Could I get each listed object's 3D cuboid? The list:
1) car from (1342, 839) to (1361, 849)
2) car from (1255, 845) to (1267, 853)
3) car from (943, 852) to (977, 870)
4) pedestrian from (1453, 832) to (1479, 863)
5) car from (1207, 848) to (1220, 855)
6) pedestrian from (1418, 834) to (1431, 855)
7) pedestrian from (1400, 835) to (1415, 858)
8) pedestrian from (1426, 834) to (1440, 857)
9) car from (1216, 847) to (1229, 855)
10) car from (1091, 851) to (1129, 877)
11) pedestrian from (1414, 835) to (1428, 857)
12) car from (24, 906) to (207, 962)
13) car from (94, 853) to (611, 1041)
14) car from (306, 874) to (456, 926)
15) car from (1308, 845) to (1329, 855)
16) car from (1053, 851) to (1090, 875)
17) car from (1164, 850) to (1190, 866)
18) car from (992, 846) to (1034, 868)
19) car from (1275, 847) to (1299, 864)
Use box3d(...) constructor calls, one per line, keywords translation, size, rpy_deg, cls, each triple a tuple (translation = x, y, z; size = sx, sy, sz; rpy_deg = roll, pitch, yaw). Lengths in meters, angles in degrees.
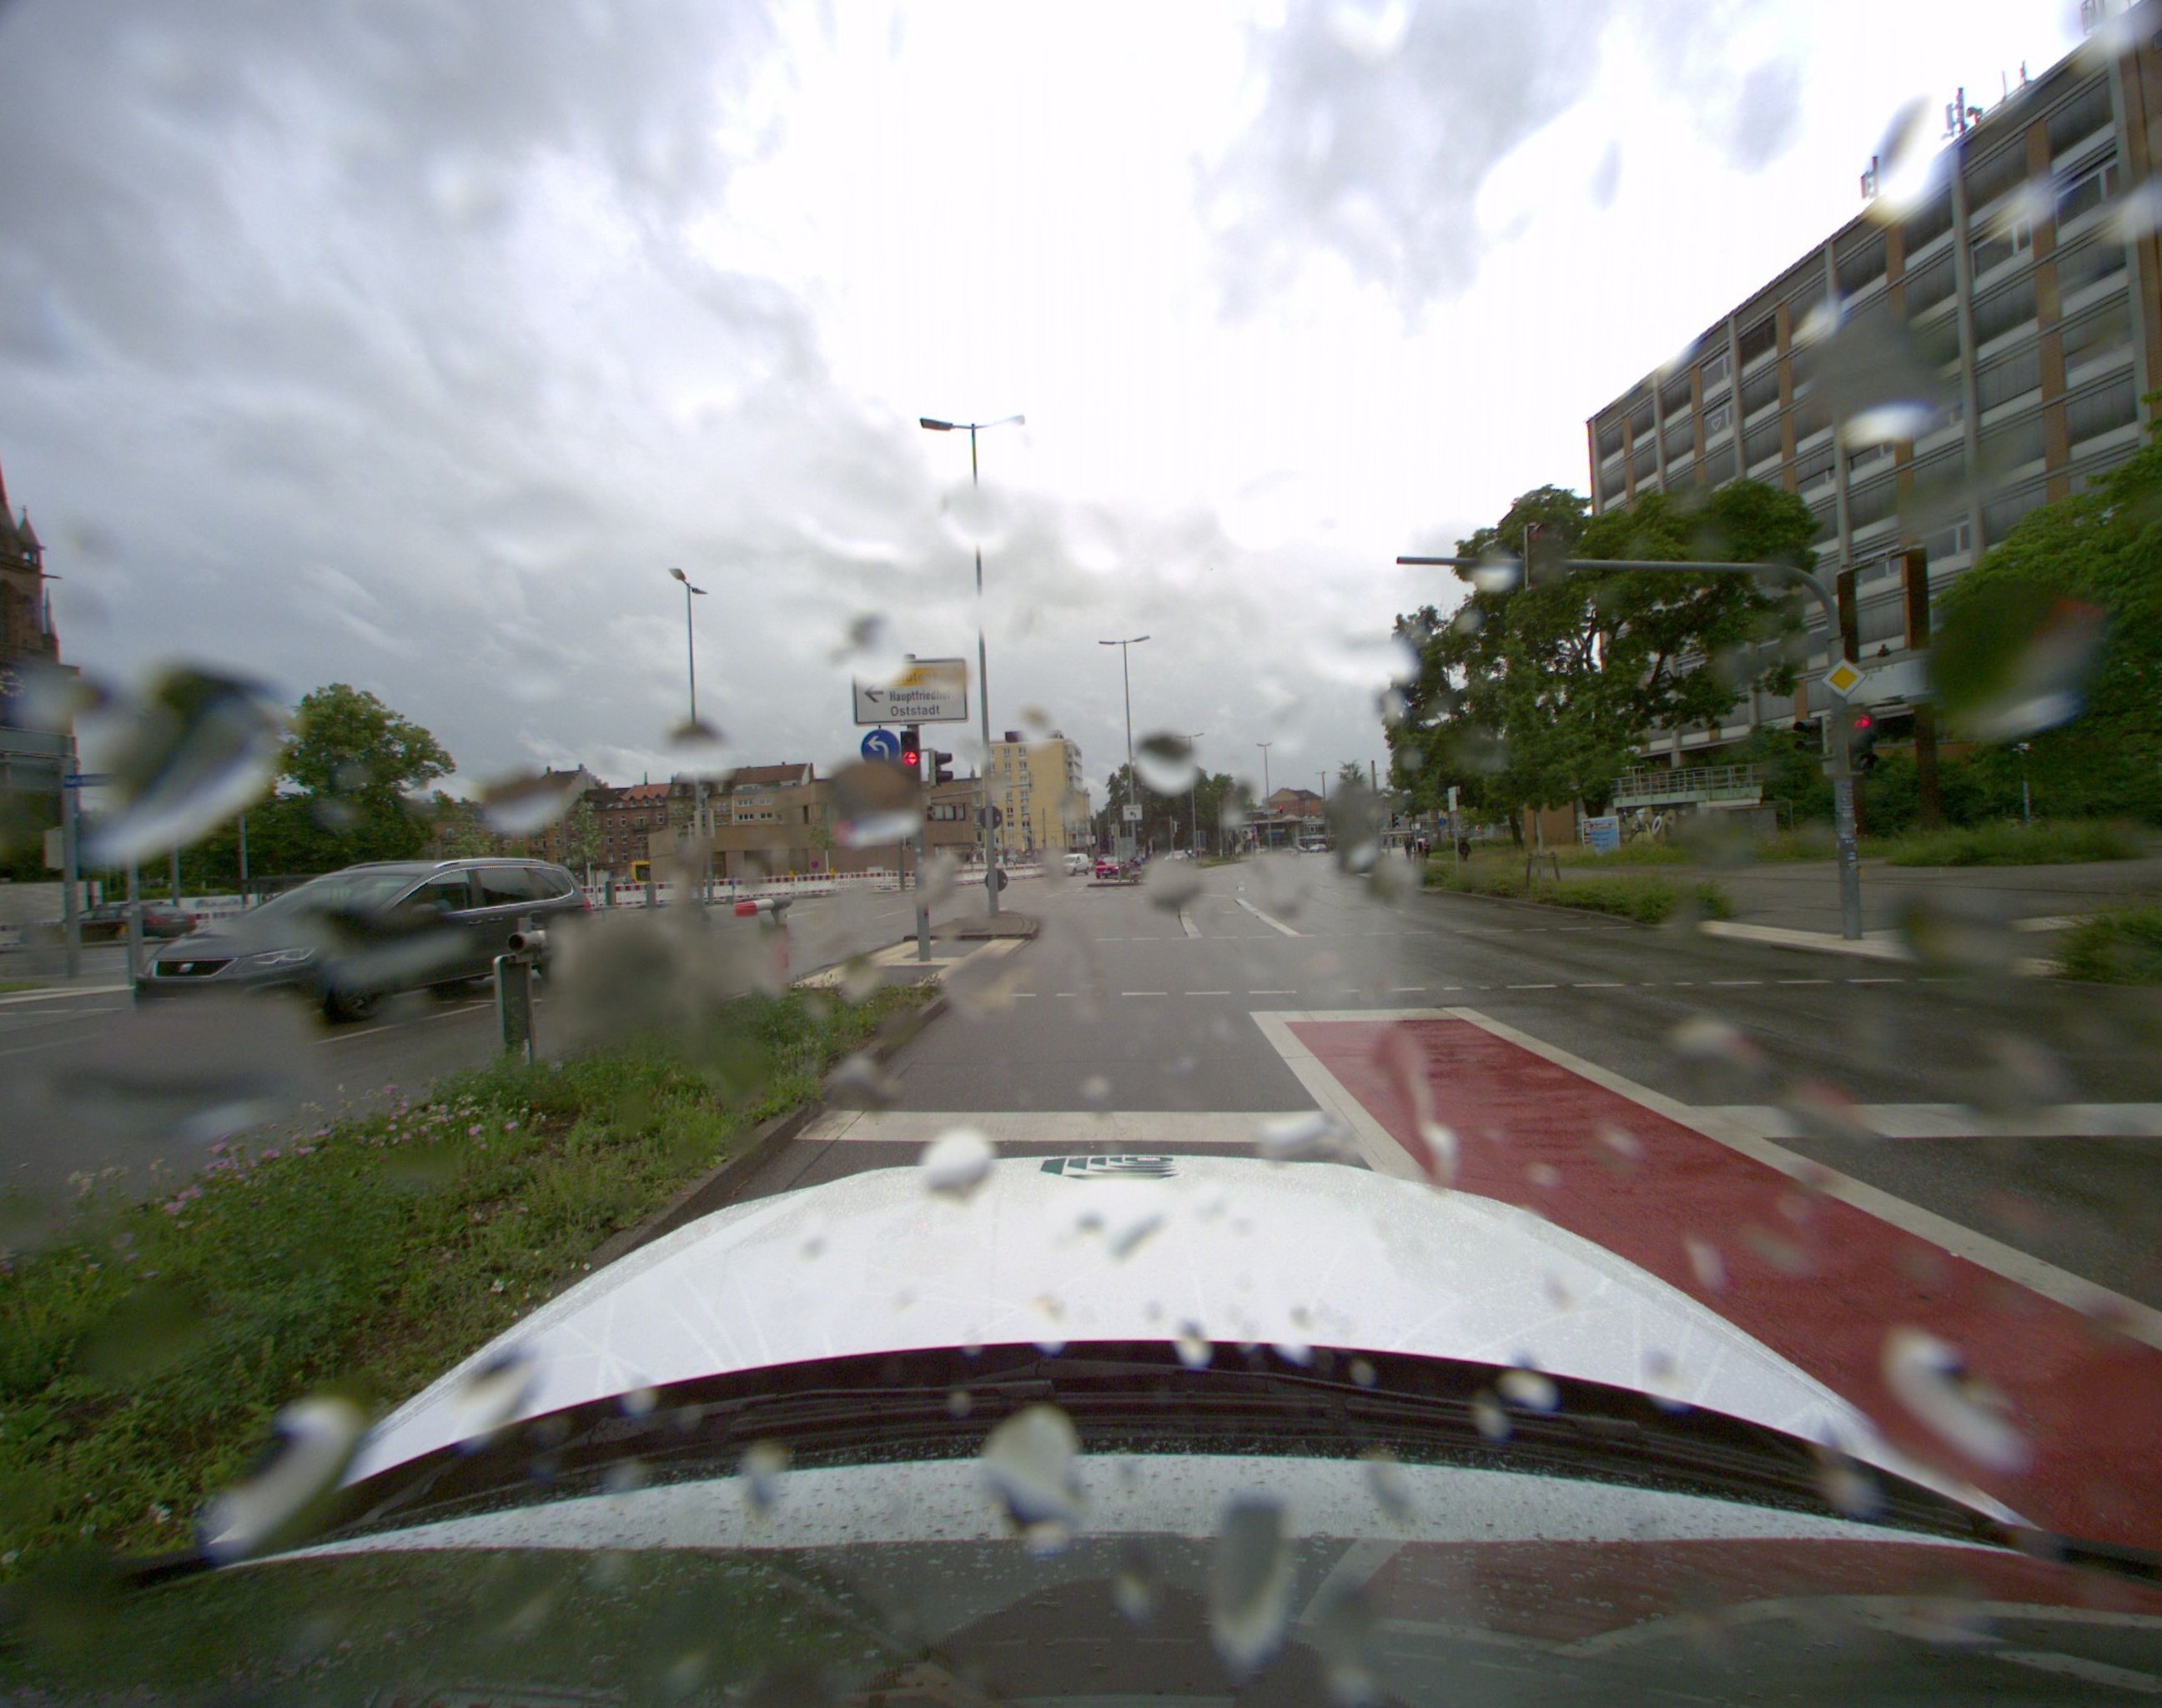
box3d(translation=(51.257, -1.913, 154.344), size=(4.184, 1.643, 1.773), rpy_deg=(-3, 0, -44), cls="car")
box3d(translation=(41.056, -1.110, 185.796), size=(1.773, 1.643, 4.184), rpy_deg=(-3, 0, 25), cls="car")
box3d(translation=(-21.123, 1.237, 142.825), size=(5.326, 2.887, 2.342), rpy_deg=(-3, 0, 4), cls="car")
box3d(translation=(20.891, -0.345, 44.228), size=(1.015, 1.588, 0.939), rpy_deg=(-3, 0, 12), cls="pedestrian")
box3d(translation=(30.899, -0.579, 190.342), size=(1.773, 1.643, 4.184), rpy_deg=(-3, 0, 25), cls="car")
box3d(translation=(26.418, -0.711, 62.670), size=(0.698, 1.588, 0.939), rpy_deg=(-3, 0, 12), cls="pedestrian")
box3d(translation=(23.554, -0.537, 58.749), size=(0.749, 1.588, 0.939), rpy_deg=(-3, 0, 12), cls="pedestrian")
box3d(translation=(24.904, -0.607, 57.655), size=(0.698, 1.588, 0.939), rpy_deg=(-3, 0, 12), cls="pedestrian")
box3d(translation=(32.929, -0.681, 189.467), size=(1.773, 1.643, 4.184), rpy_deg=(-3, 0, 25), cls="car")
box3d(translation=(2.065, 0.682, 56.875), size=(1.777, 1.643, 4.061), rpy_deg=(-3, 0, 13), cls="car")
box3d(translation=(24.274, -0.575, 58.132), size=(0.698, 1.588, 0.939), rpy_deg=(-3, 0, 12), cls="pedestrian")
box3d(translation=(-36.474, 2.999, 30.873), size=(4.440, 1.706, 1.707), rpy_deg=(-3, 0, -6), cls="car")
box3d(translation=(-8.281, 0.886, 10.078), size=(1.763, 1.678, 4.775), rpy_deg=(-3, 0, 5), cls="car")
box3d(translation=(-27.309, 1.773, 31.872), size=(4.134, 1.706, 1.707), rpy_deg=(-3, 0, -6), cls="car")
box3d(translation=(43.336, -0.660, 148.685), size=(1.773, 1.643, 4.184), rpy_deg=(-3, 0, 45), cls="car")
box3d(translation=(-0.761, 0.710, 67.091), size=(1.776, 1.858, 4.178), rpy_deg=(-3, 0, 17), cls="car")
box3d(translation=(11.105, 0.446, 93.547), size=(1.774, 1.643, 4.183), rpy_deg=(-3, 0, 23), cls="car")
box3d(translation=(-11.832, 0.463, 141.974), size=(6.711, 3.380, 2.813), rpy_deg=(-3, 0, 4), cls="car")
box3d(translation=(21.933, 0.102, 86.484), size=(1.774, 1.643, 4.183), rpy_deg=(-3, 0, 23), cls="car")
